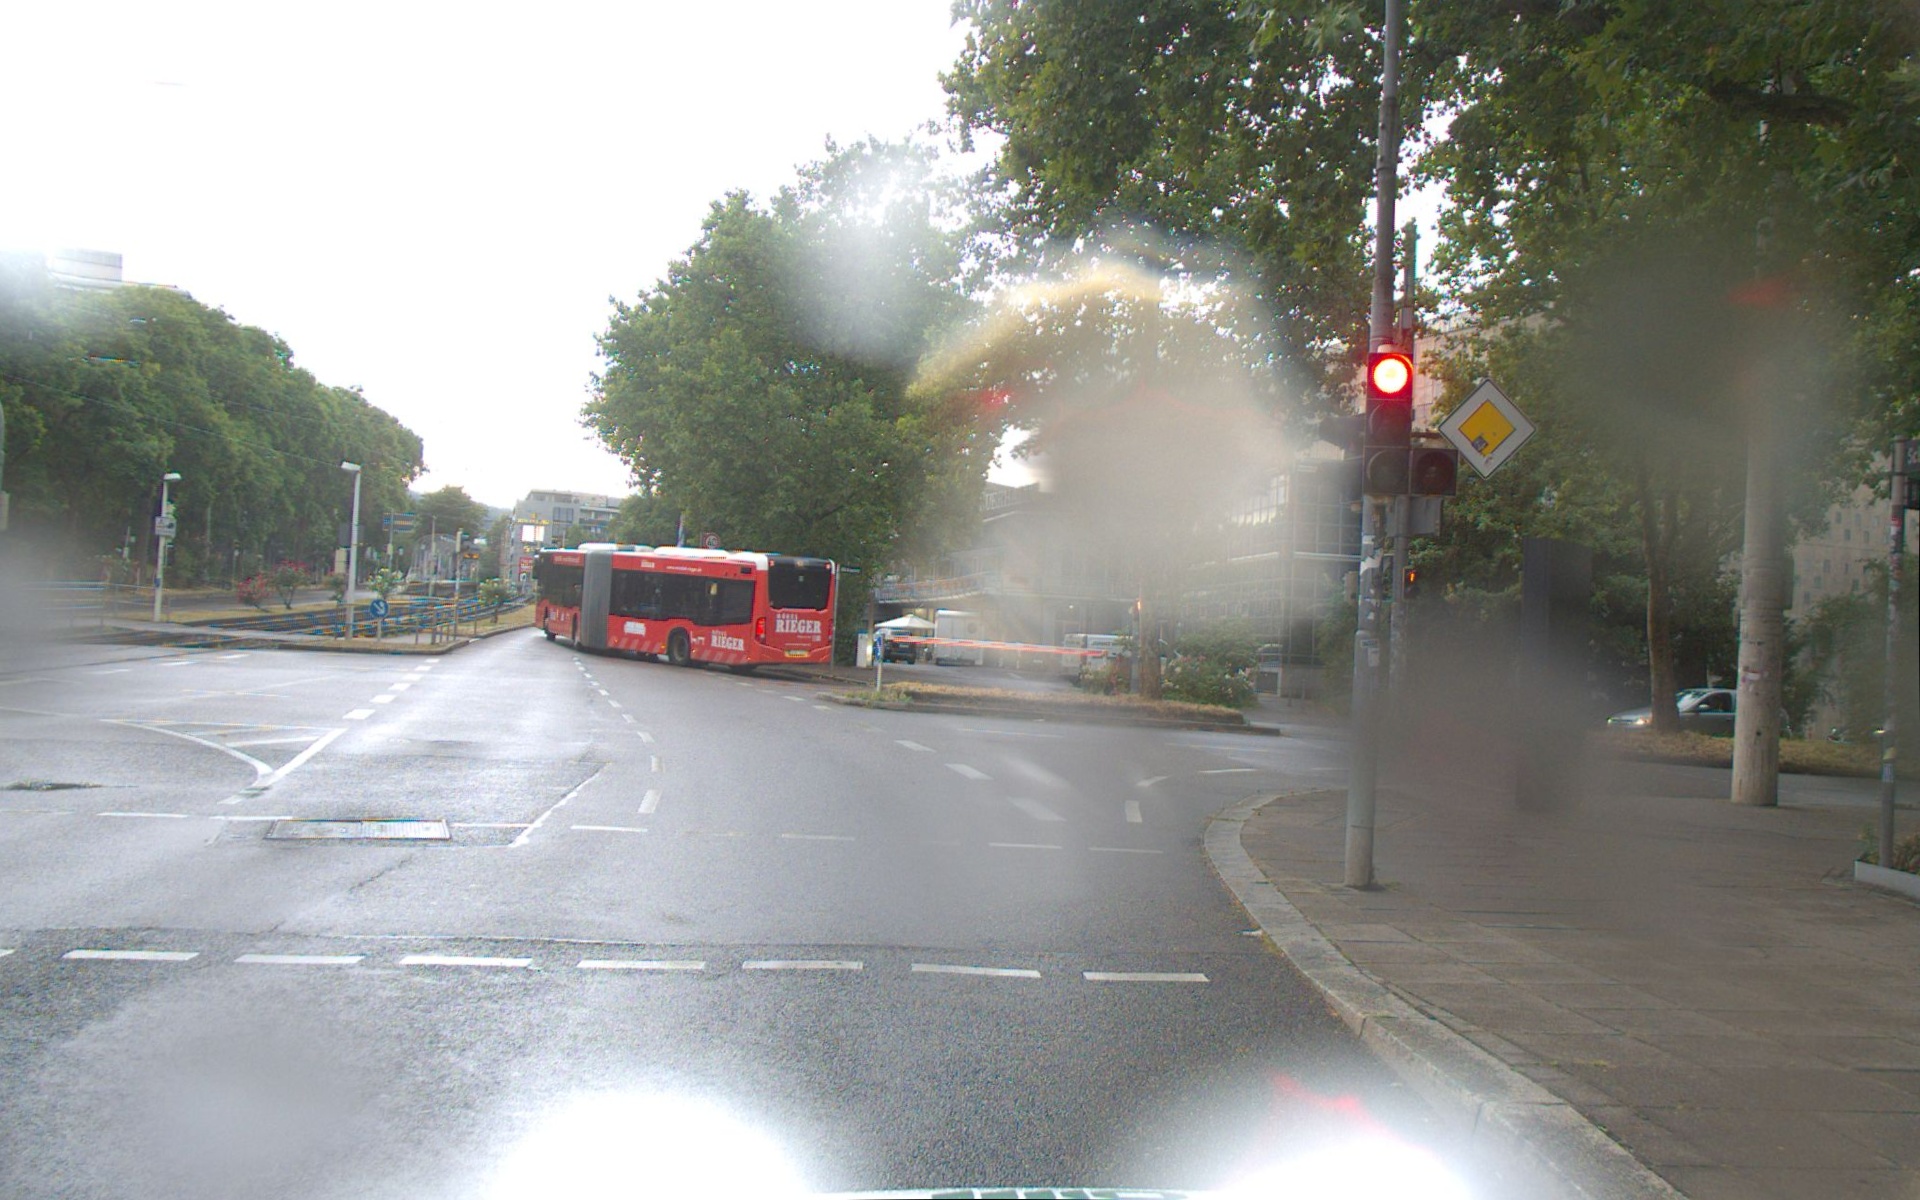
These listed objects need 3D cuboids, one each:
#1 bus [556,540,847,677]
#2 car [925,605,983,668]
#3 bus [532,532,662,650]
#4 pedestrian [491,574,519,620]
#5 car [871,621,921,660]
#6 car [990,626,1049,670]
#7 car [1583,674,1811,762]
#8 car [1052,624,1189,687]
[{"bbox_3d":[-7.198,0.144,44.811,9.027,3.165,2.646,3,-2,43],"label":"bus"},{"bbox_3d":[-0.368,1.991,90.731,2.496,3.188,5.024,4,-1,-6],"label":"car"},{"bbox_3d":[-11.501,-0.258,51.687,2.513,3.165,9.399,5,-1,-20],"label":"bus"},{"bbox_3d":[-17.080,-0.101,62.074,0.723,1.668,0.870,4,-2,-4],"label":"pedestrian"},{"bbox_3d":[-3.428,2.133,88.051,1.959,1.892,3.988,4,-1,-12],"label":"car"},{"bbox_3d":[3.001,2.442,84.699,1.959,2.049,3.987,4,-1,-13],"label":"car"},{"bbox_3d":[15.552,2.475,35.020,3.912,1.467,1.997,4,-1,-7],"label":"car"},{"bbox_3d":[6.046,2.098,62.324,4.682,1.977,1.986,5,-2,-23],"label":"car"}]
